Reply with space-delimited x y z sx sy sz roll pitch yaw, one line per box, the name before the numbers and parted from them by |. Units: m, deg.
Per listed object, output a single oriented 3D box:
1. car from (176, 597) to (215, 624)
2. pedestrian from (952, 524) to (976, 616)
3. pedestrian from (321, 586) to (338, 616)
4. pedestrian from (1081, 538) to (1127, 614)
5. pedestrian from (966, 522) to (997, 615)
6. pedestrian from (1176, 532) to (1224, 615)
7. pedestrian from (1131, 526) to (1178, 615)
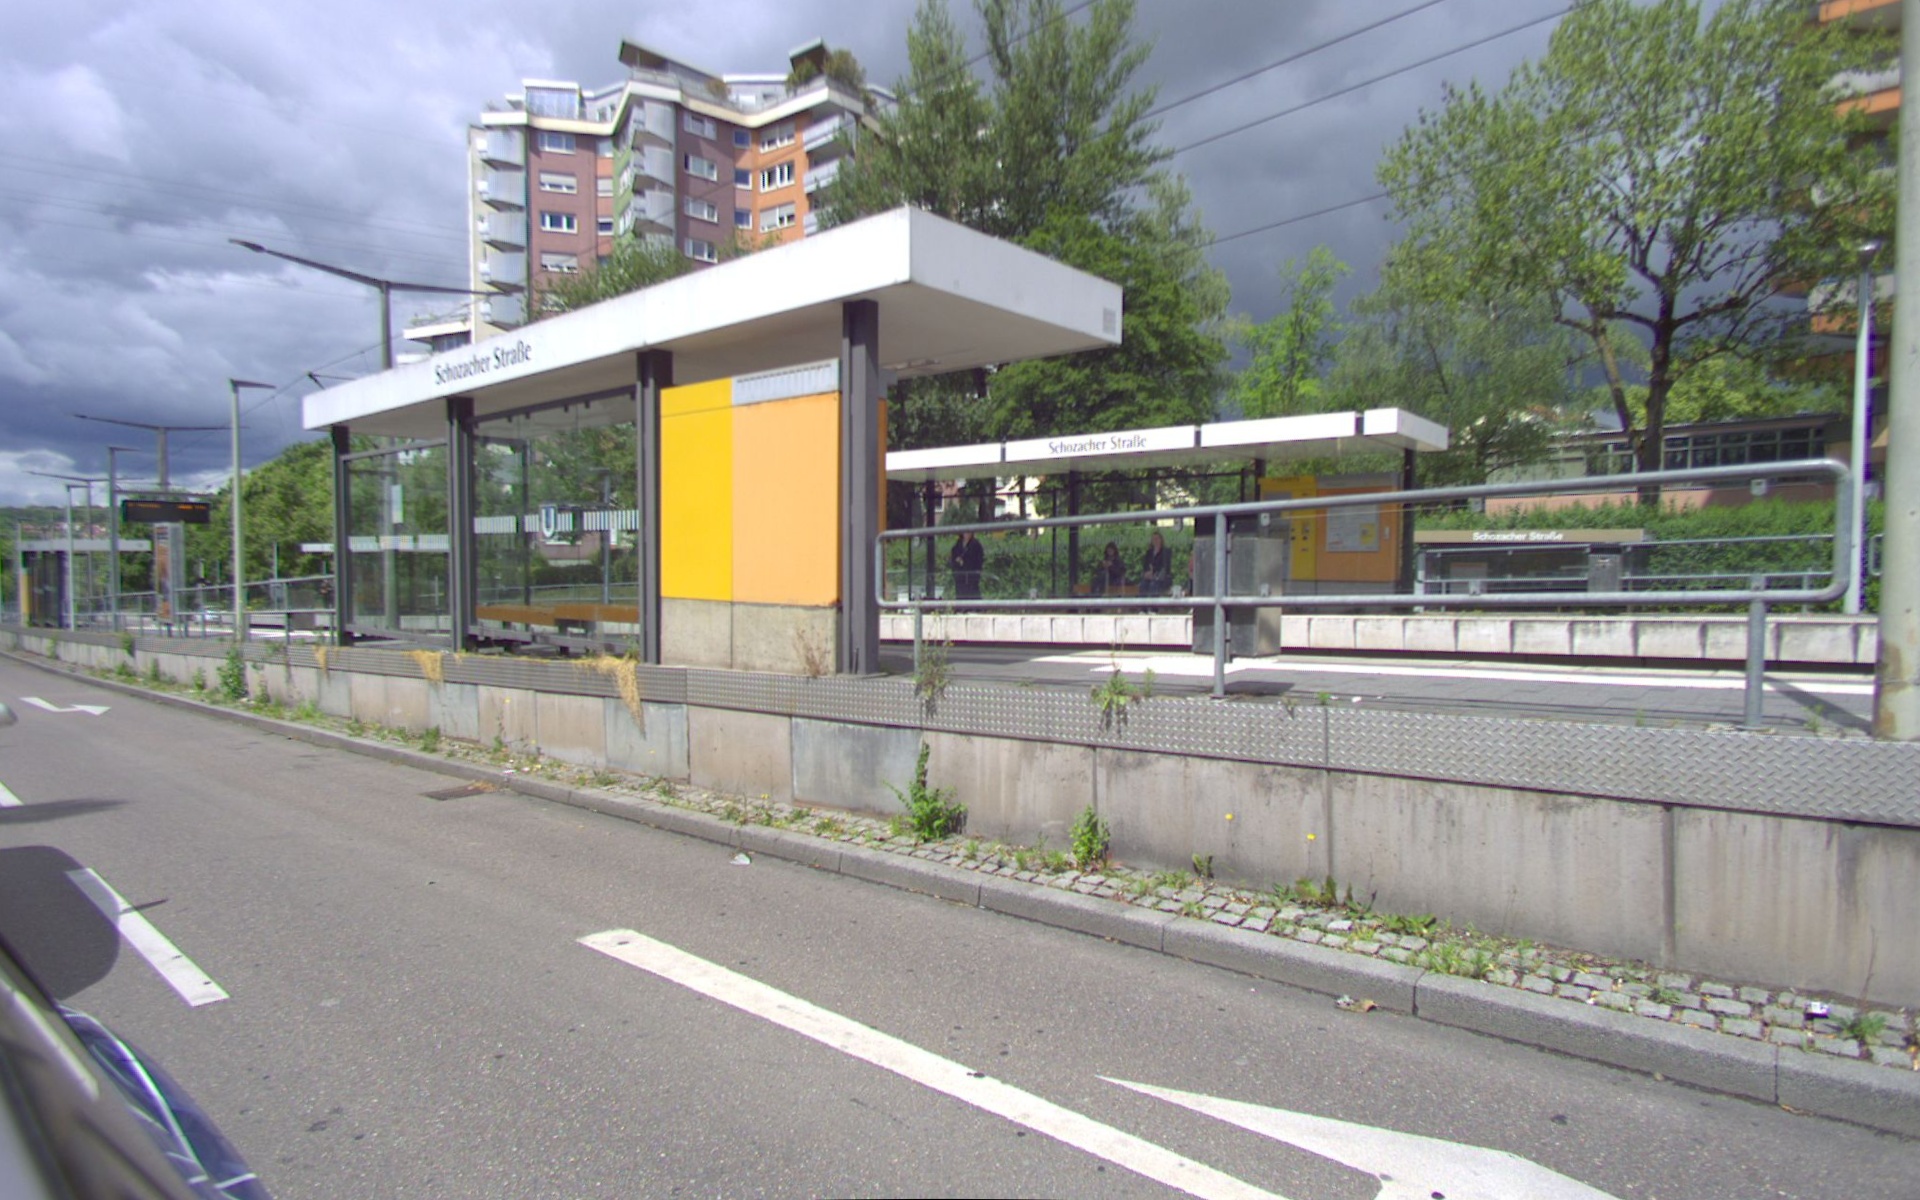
car | -60.458 0.824 80.004 4.000 2.029 1.714 -1 0 43
pedestrian | 0.078 -0.560 19.109 0.421 1.726 0.353 -1 0 -1
pedestrian | -27.973 0.040 44.882 0.527 1.287 0.564 -1 0 -22
pedestrian | 2.489 -0.402 17.491 0.463 1.287 0.704 -1 0 40
pedestrian | 0.407 -0.585 19.105 0.544 1.726 0.386 -1 0 -2
pedestrian | 3.829 -0.419 16.137 0.463 1.287 0.704 -1 0 40
pedestrian | 3.205 -0.481 16.690 0.463 1.428 0.704 -1 0 40
